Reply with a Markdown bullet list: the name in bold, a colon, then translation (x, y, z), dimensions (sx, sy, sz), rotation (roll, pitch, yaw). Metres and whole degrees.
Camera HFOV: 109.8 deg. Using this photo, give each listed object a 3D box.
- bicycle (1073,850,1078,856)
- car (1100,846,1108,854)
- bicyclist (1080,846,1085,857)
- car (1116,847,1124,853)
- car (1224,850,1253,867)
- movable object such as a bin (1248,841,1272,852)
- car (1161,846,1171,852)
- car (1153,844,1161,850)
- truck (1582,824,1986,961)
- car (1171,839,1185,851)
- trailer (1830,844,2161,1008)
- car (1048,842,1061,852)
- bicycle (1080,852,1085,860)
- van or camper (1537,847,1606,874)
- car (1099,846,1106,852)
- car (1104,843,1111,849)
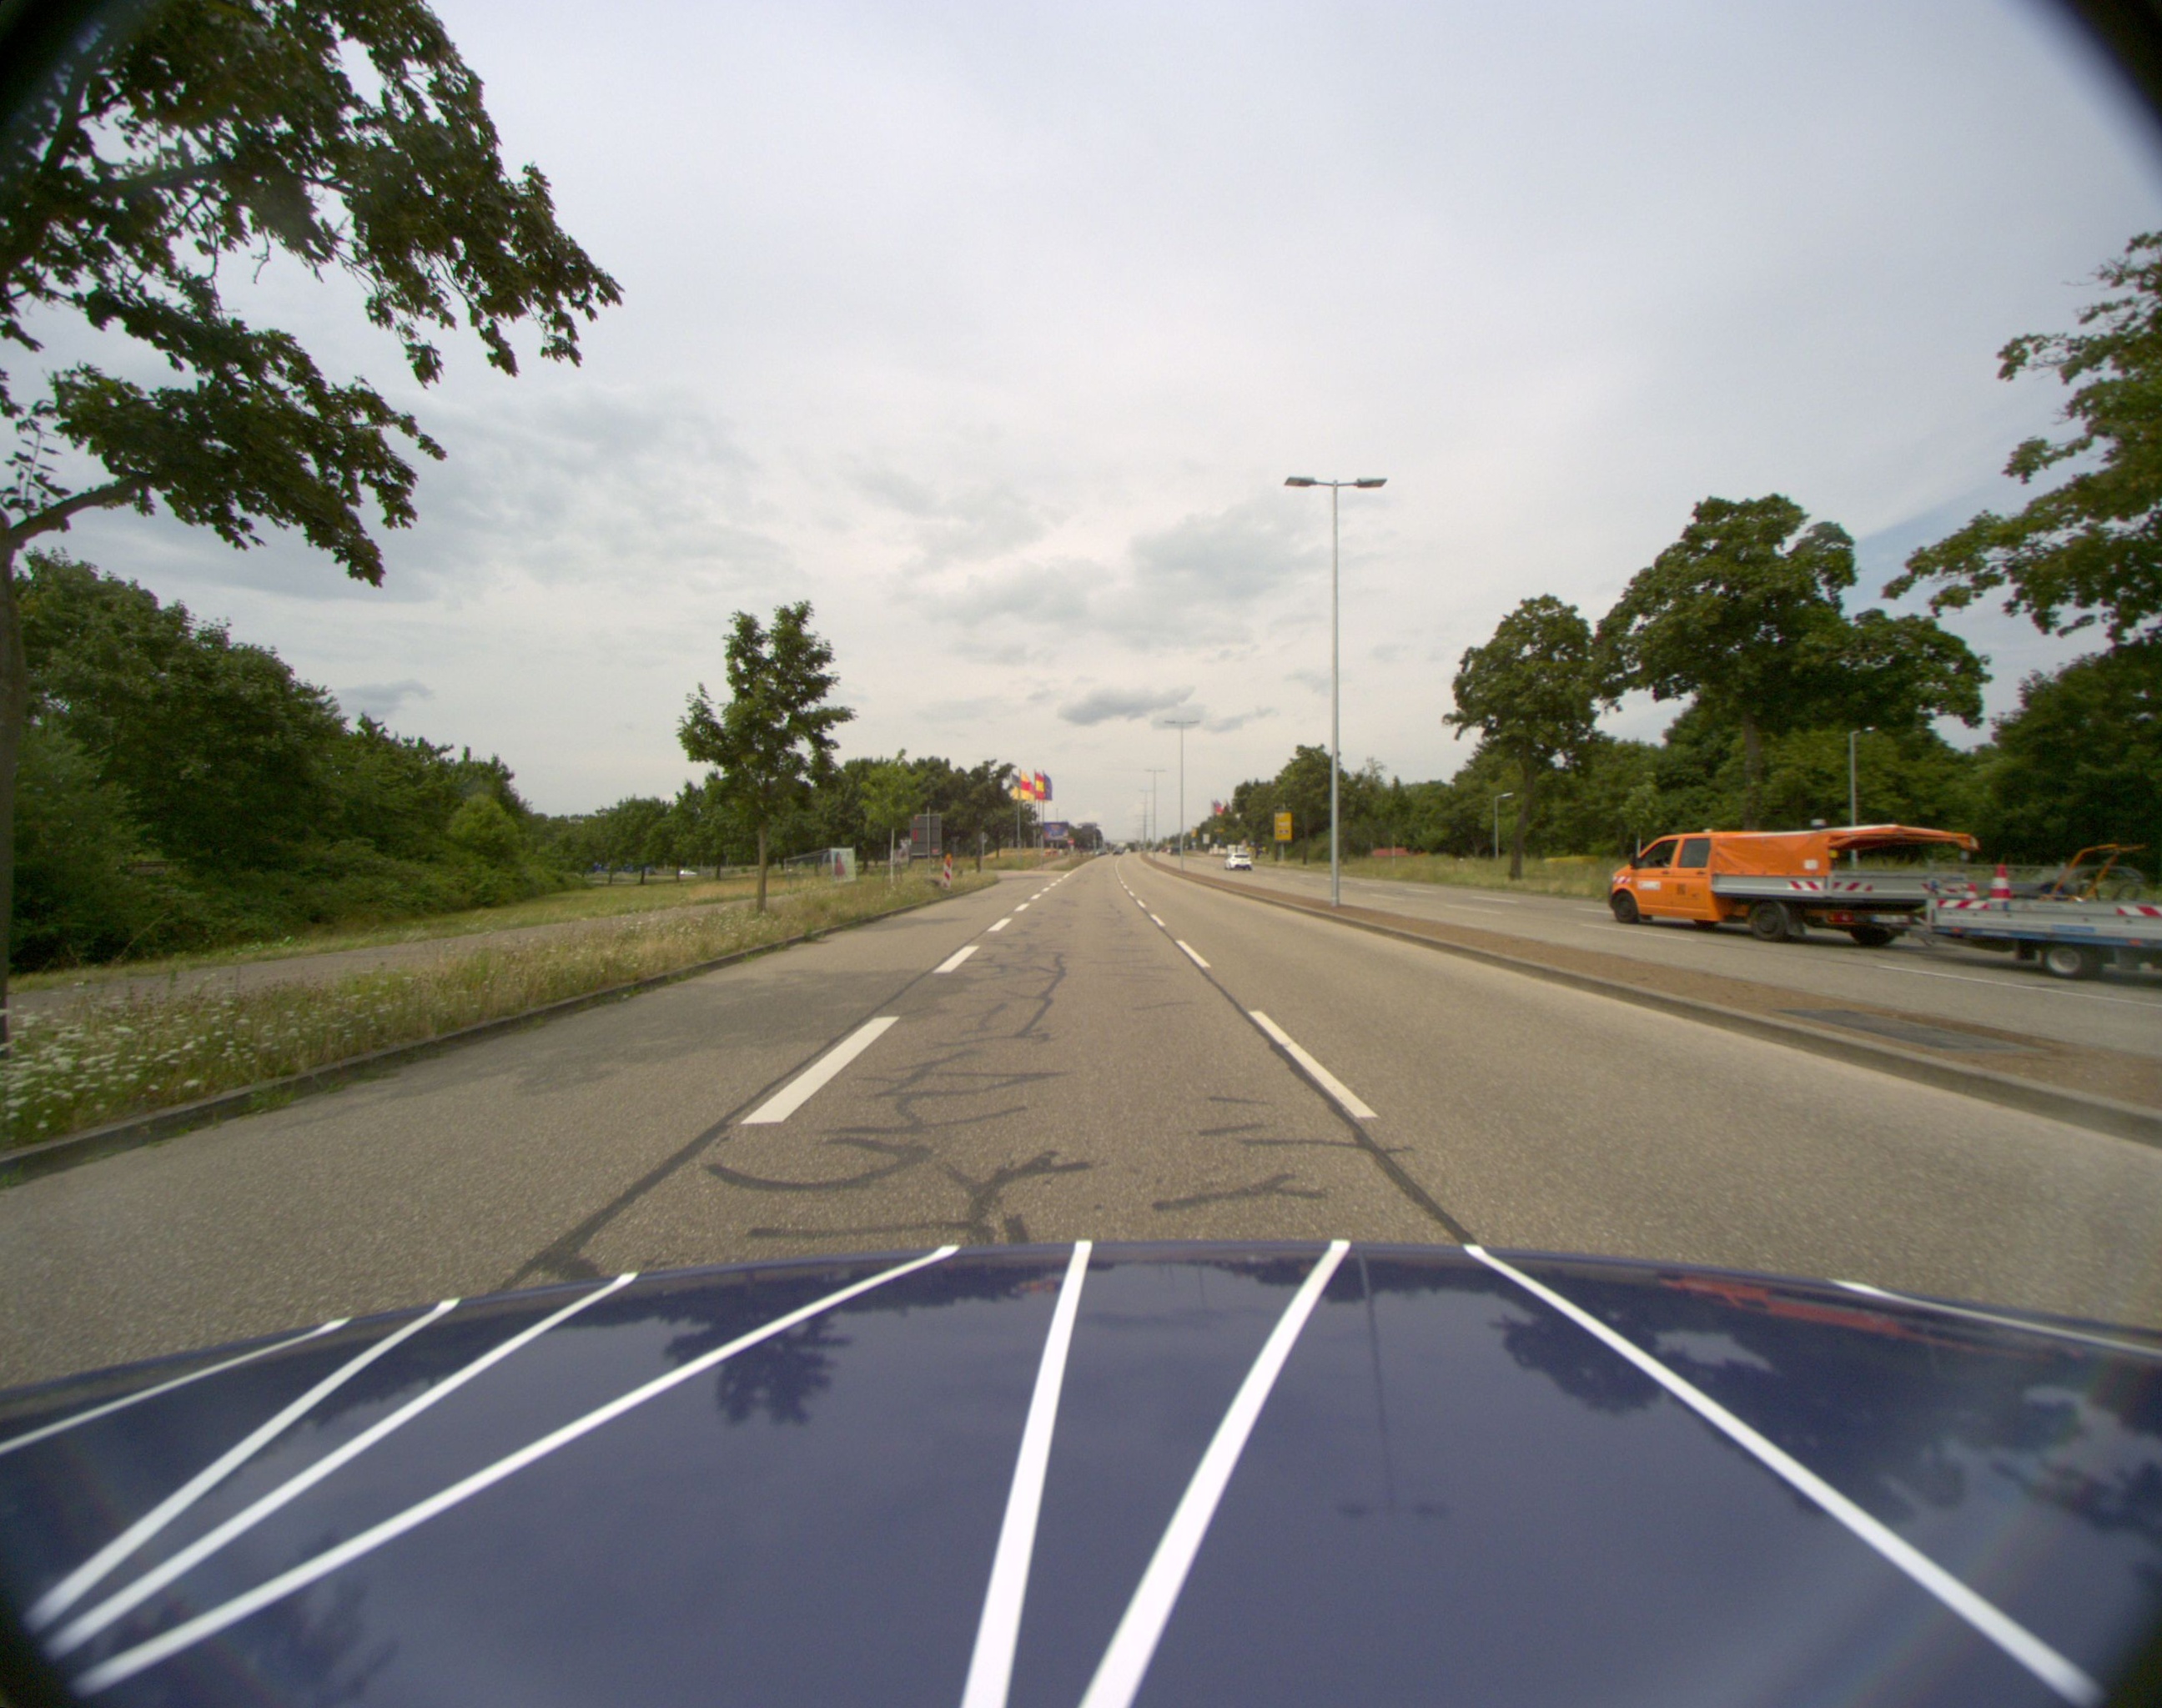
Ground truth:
- **bicycle**: translation (-0.851, -0.165, 116.534), dimensions (0.624, 0.883, 2.154), rotation (-1, 1, 2)
- **car**: translation (4.805, -0.821, 158.268), dimensions (1.695, 1.403, 3.684), rotation (-2, 0, 1)
- **bicyclist**: translation (0.219, -0.390, 122.067), dimensions (0.705, 1.745, 0.991), rotation (0, 0, 3)
- **car**: translation (8.143, -0.868, 157.322), dimensions (1.558, 1.230, 3.470), rotation (-2, 0, 3)
- **car**: translation (13.265, 0.395, 64.259), dimensions (1.721, 1.411, 4.160), rotation (1, 0, 2)
- **movable object such as a bin**: translation (38.003, -1.623, 161.533), dimensions (4.592, 2.383, 1.999), rotation (-1, 0, -6)
- **car**: translation (19.653, -1.194, 174.986), dimensions (1.998, 1.422, 4.689), rotation (0, 0, 3)
- **car**: translation (22.285, -2.031, 221.830), dimensions (1.998, 1.801, 4.798), rotation (0, 0, 2)
- **truck**: translation (12.316, 0.586, 14.196), dimensions (2.093, 1.983, 6.040), rotation (1, 0, 2)
- **car**: translation (19.017, -1.740, 149.174), dimensions (2.100, 2.188, 6.004), rotation (1, 0, 1)
- **trailer**: translation (12.167, 0.739, 9.355), dimensions (2.067, 1.680, 3.895), rotation (1, 0, 2)
- **car**: translation (-4.889, -1.234, 139.169), dimensions (1.892, 1.824, 4.431), rotation (-2, 0, 3)
- **bicycle**: translation (0.216, 0.327, 121.906), dimensions (0.695, 1.185, 2.461), rotation (0, 0, 3)
- **van or camper**: translation (40.810, 0.513, 63.274), dimensions (4.361, 2.002, 2.001), rotation (-2, 1, 11)
- **car**: translation (4.750, -0.993, 166.449), dimensions (1.558, 1.230, 3.470), rotation (-2, 0, 3)
- **car**: translation (6.452, -1.996, 185.629), dimensions (1.558, 1.230, 3.470), rotation (-2, 0, 3)
